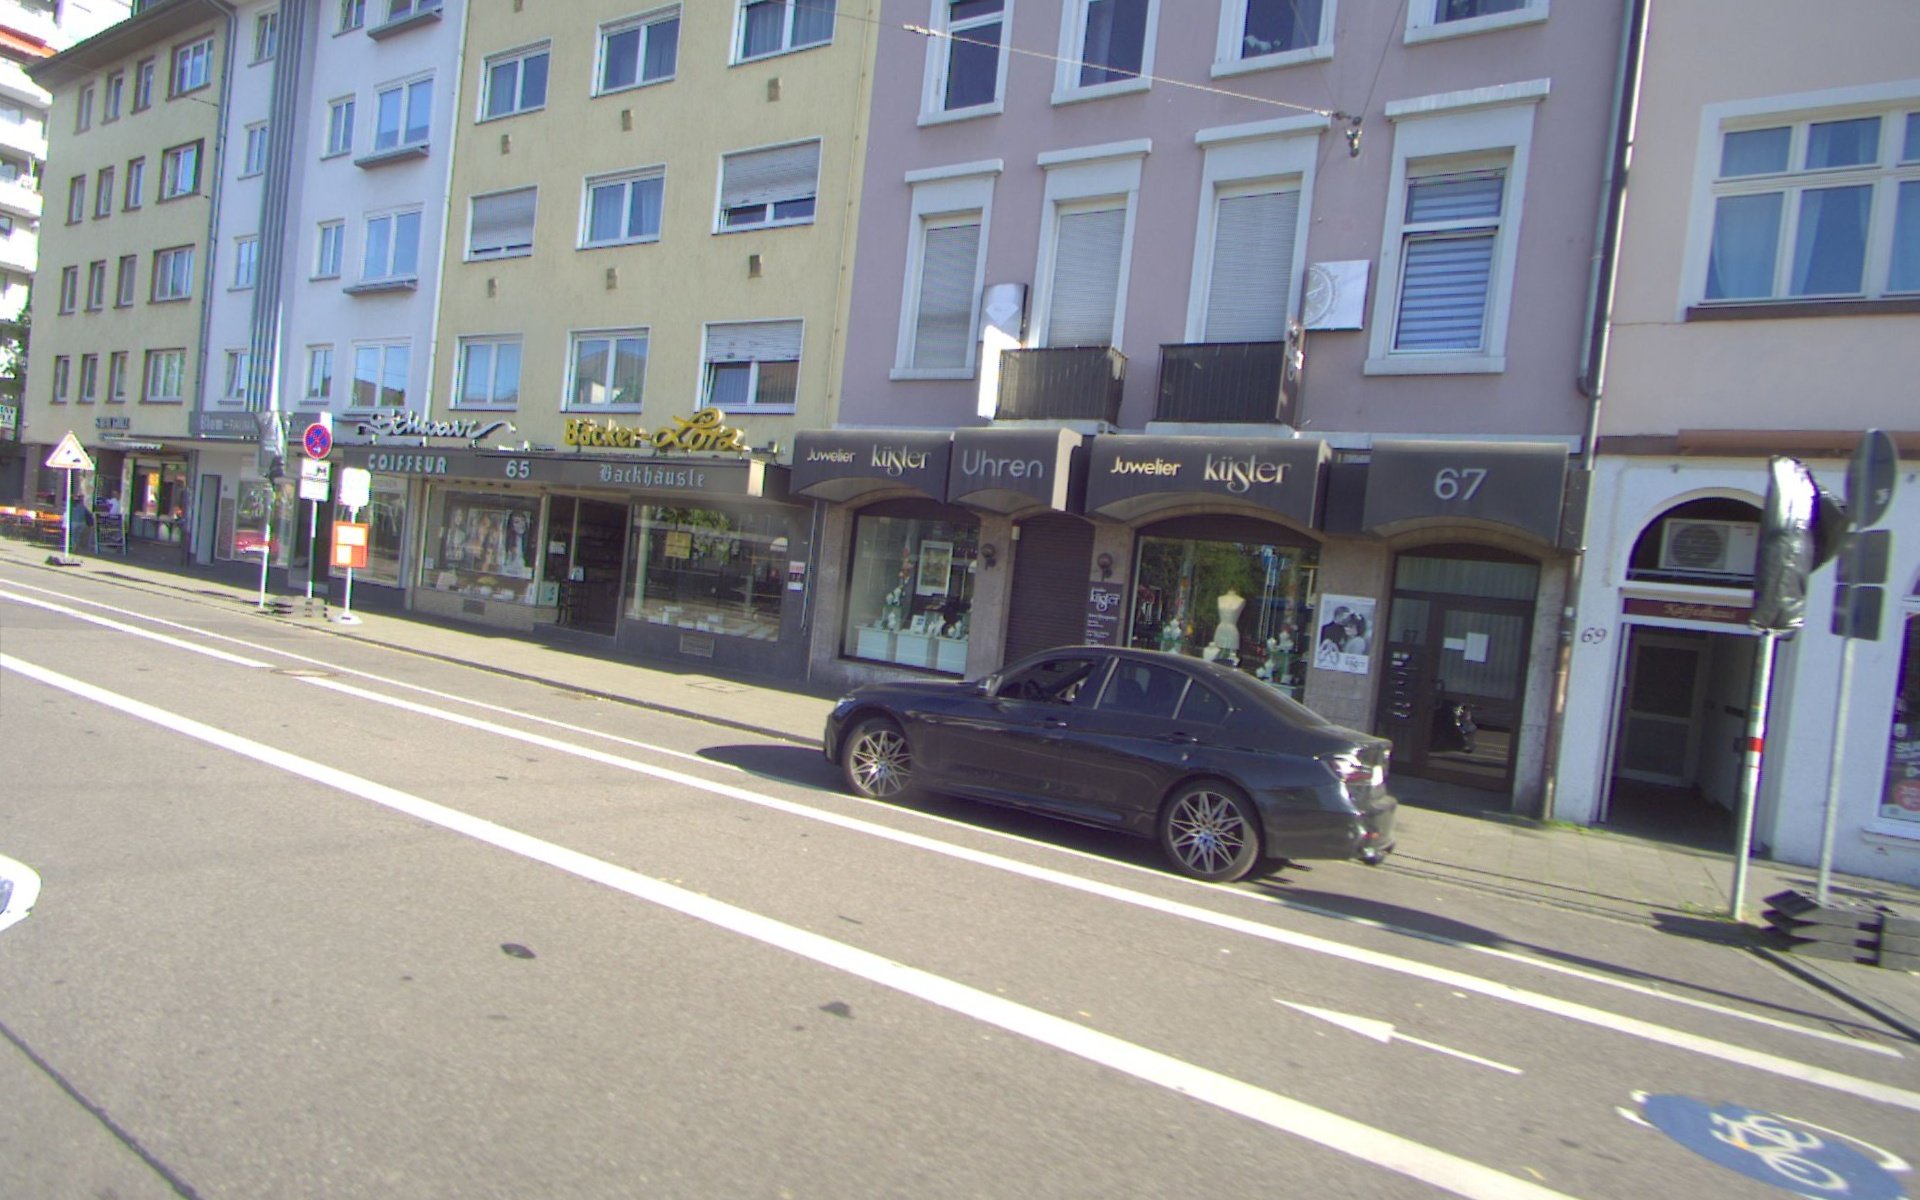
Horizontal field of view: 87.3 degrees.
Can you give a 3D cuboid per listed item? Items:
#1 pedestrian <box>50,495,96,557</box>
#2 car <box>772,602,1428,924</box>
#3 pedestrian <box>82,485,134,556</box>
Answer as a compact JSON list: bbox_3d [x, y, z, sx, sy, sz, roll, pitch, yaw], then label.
[{"bbox_3d":[-23.655,-1.964,26.825,0.641,1.525,0.671,7,1,31],"label":"pedestrian"},{"bbox_3d":[1.007,1.052,7.938,4.636,1.446,1.904,7,-1,29],"label":"car"},{"bbox_3d":[-24.073,-2.245,28.424,0.885,1.878,0.730,7,1,27],"label":"pedestrian"}]
